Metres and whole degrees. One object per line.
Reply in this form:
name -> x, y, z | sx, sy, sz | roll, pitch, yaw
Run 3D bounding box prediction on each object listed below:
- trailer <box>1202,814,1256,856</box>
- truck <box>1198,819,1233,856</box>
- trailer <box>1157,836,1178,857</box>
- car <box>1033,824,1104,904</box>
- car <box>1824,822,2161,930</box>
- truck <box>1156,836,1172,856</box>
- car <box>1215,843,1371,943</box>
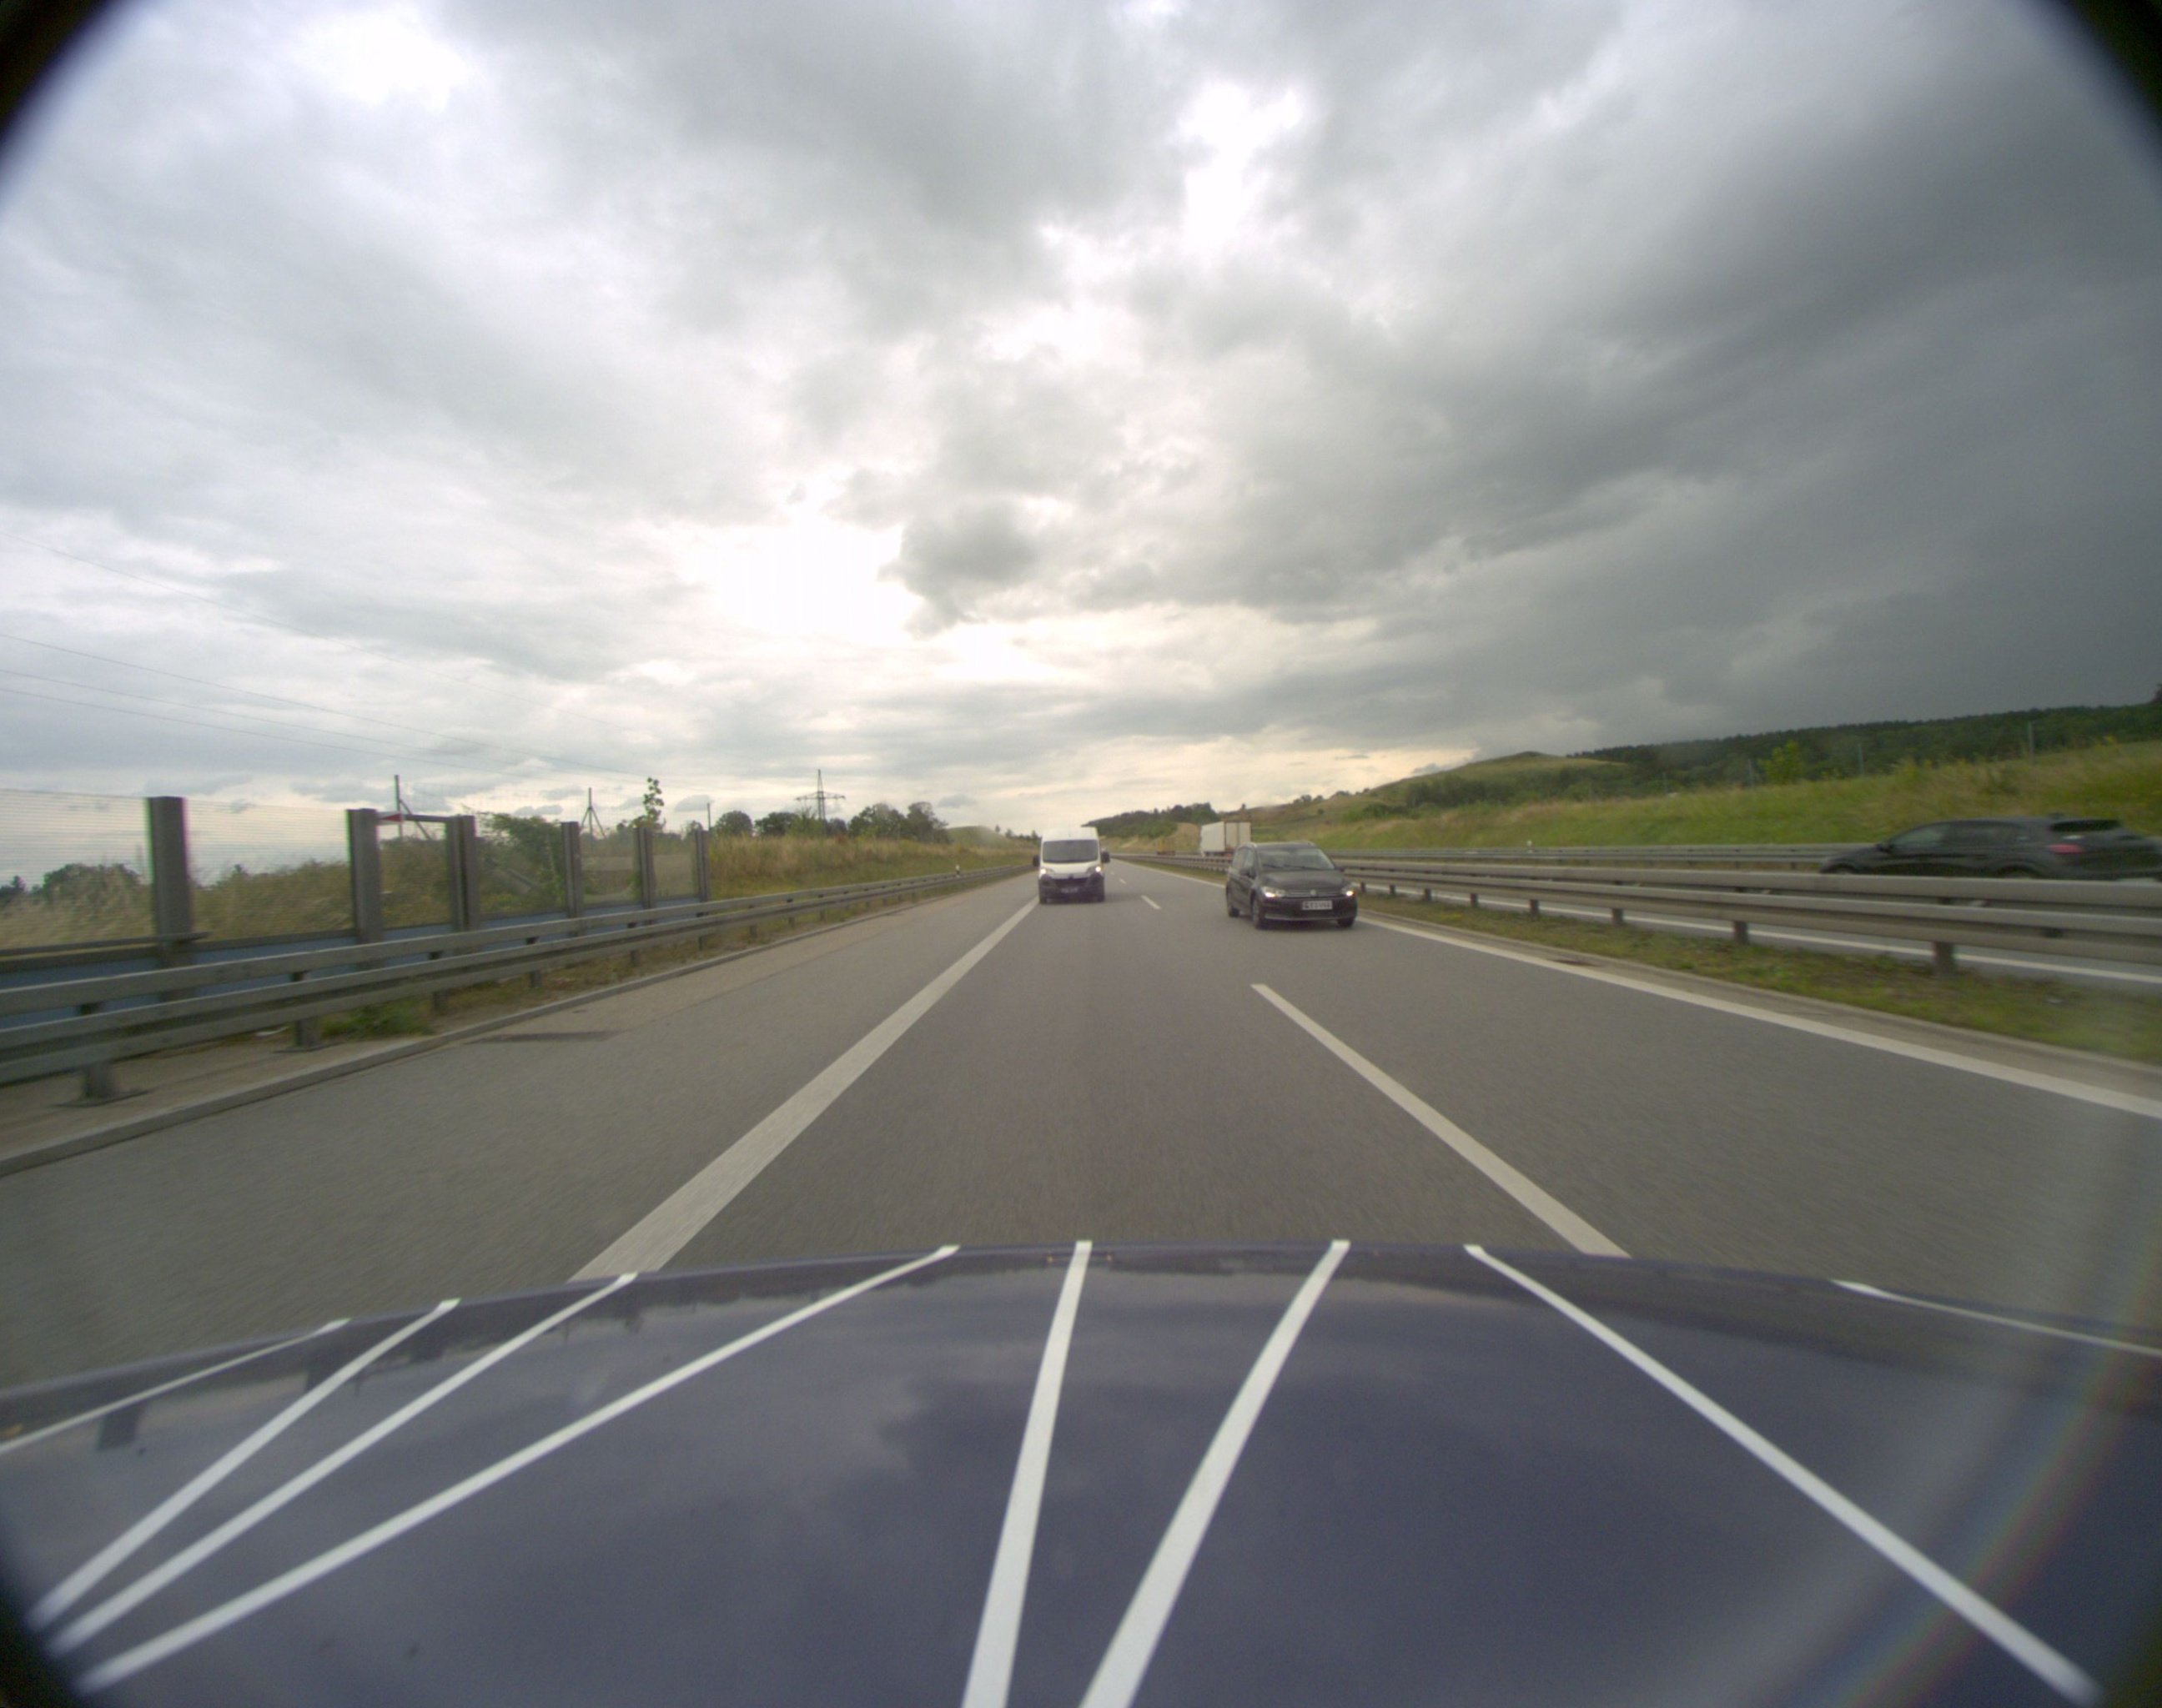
trailer -> 15.150, -1.802, 79.245 | 2.925, 3.902, 14.274 | -2, 0, 1
truck -> 15.261, -1.820, 86.506 | 2.959, 3.902, 5.518 | -2, 0, 1
trailer -> 16.729, -1.446, 148.120 | 2.596, 3.902, 13.701 | -2, 0, 1
car -> -0.310, 0.325, 26.288 | 2.132, 2.411, 6.112 | -1, 0, 1
car -> 14.619, 0.276, 12.108 | 1.635, 1.401, 4.000 | -2, 0, 1
truck -> 16.803, -1.592, 154.764 | 2.599, 3.902, 5.587 | -2, 0, 1
car -> 4.147, 0.666, 15.856 | 1.901, 1.661, 5.397 | -2, 0, 2
